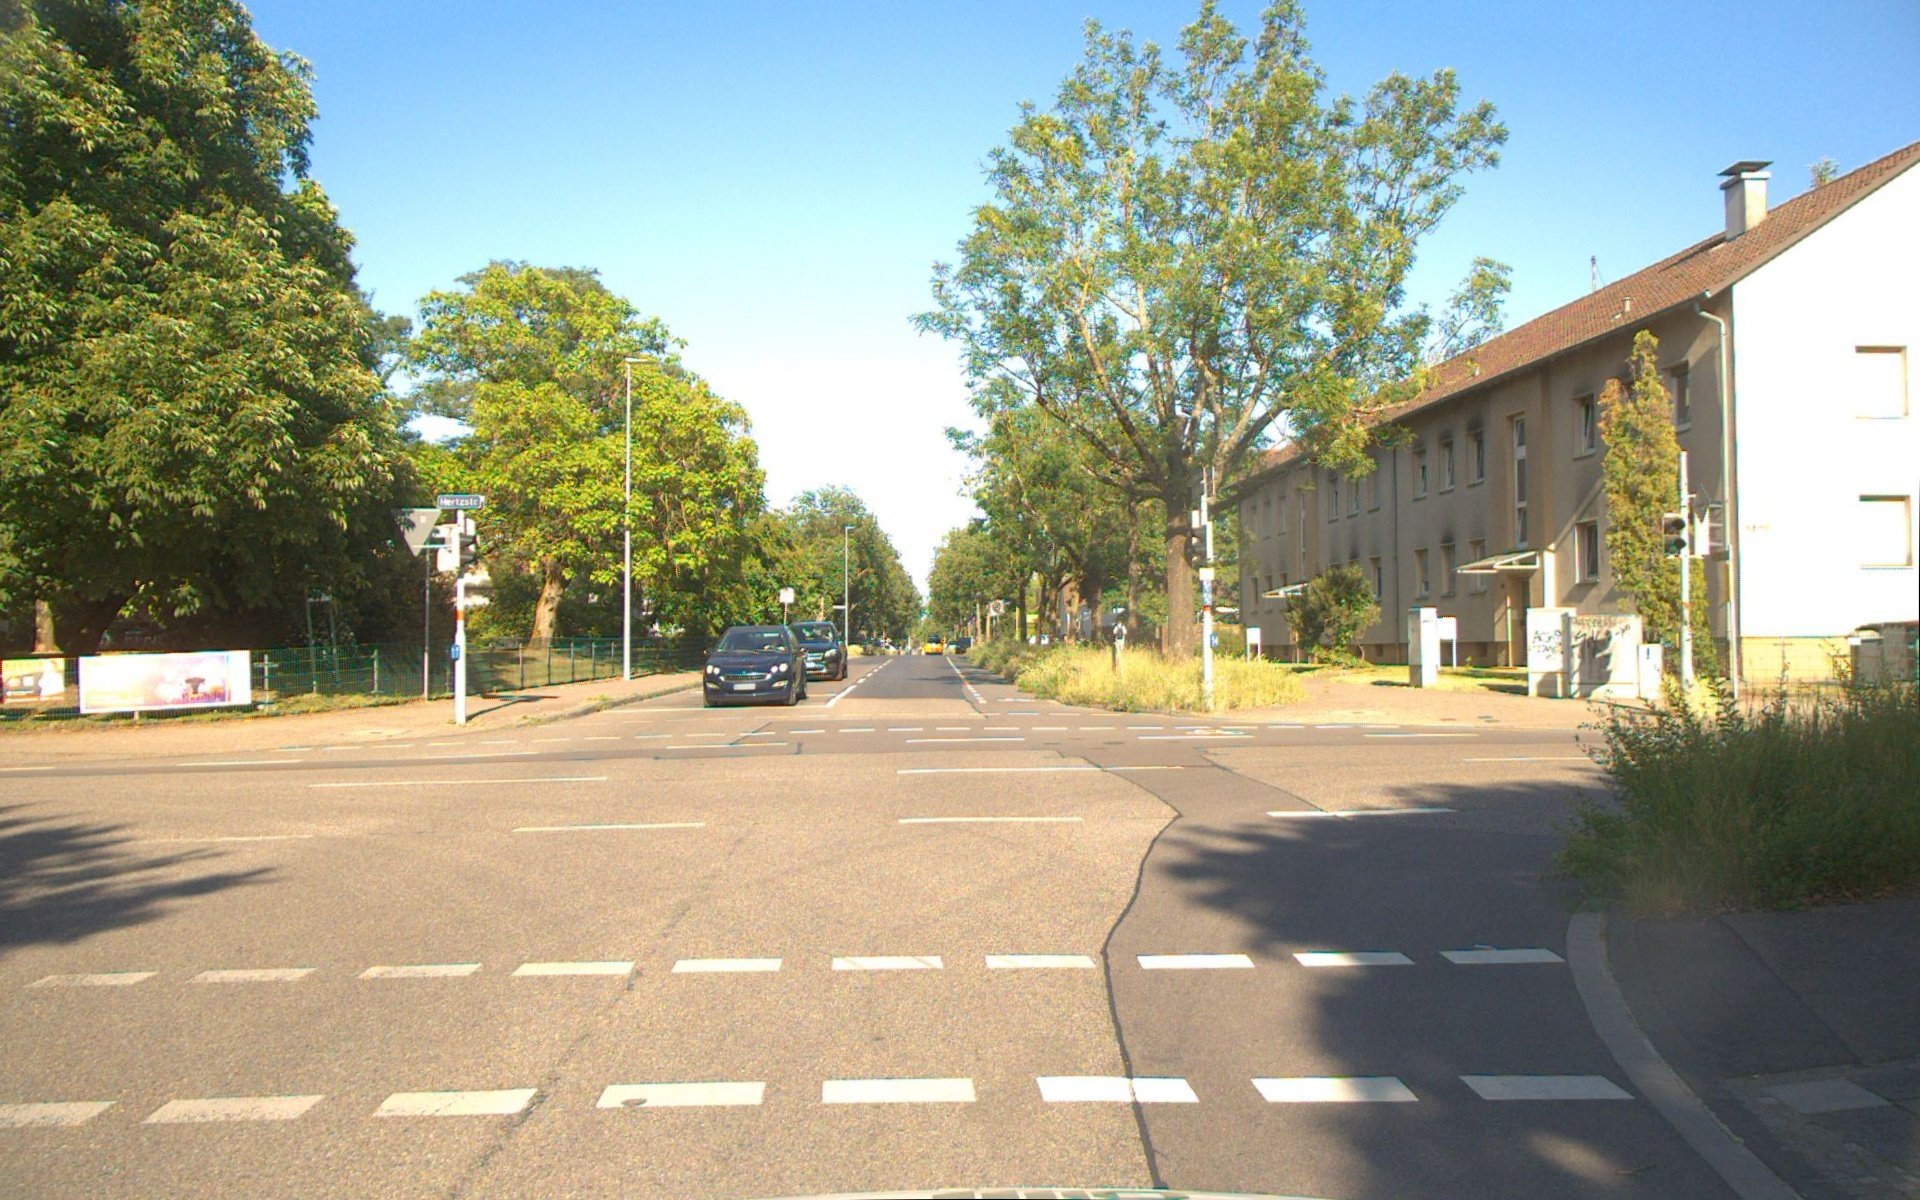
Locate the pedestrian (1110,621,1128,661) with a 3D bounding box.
[{"bbox_3d":[7.128,1.848,74.264,0.624,1.735,0.612,-3,-1,-2],"label":"pedestrian"}]

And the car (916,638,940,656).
[{"bbox_3d":[-2.816,4.091,143.822,1.851,1.505,3.884,2,-2,-4],"label":"car"}]

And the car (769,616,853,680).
[{"bbox_3d":[-4.135,1.302,46.422,1.777,1.646,4.393,-2,-1,2],"label":"car"}]

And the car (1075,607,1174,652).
[{"bbox_3d":[9.733,1.734,98.099,5.485,2.584,2.263,-1,-1,-5],"label":"car"}]

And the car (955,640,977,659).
[{"bbox_3d":[0.540,4.481,149.122,1.815,1.654,4.467,-2,-3,-1],"label":"car"}]

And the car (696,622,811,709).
[{"bbox_3d":[-3.829,1.229,31.165,1.770,1.480,3.848,-2,-2,-2],"label":"car"}]
